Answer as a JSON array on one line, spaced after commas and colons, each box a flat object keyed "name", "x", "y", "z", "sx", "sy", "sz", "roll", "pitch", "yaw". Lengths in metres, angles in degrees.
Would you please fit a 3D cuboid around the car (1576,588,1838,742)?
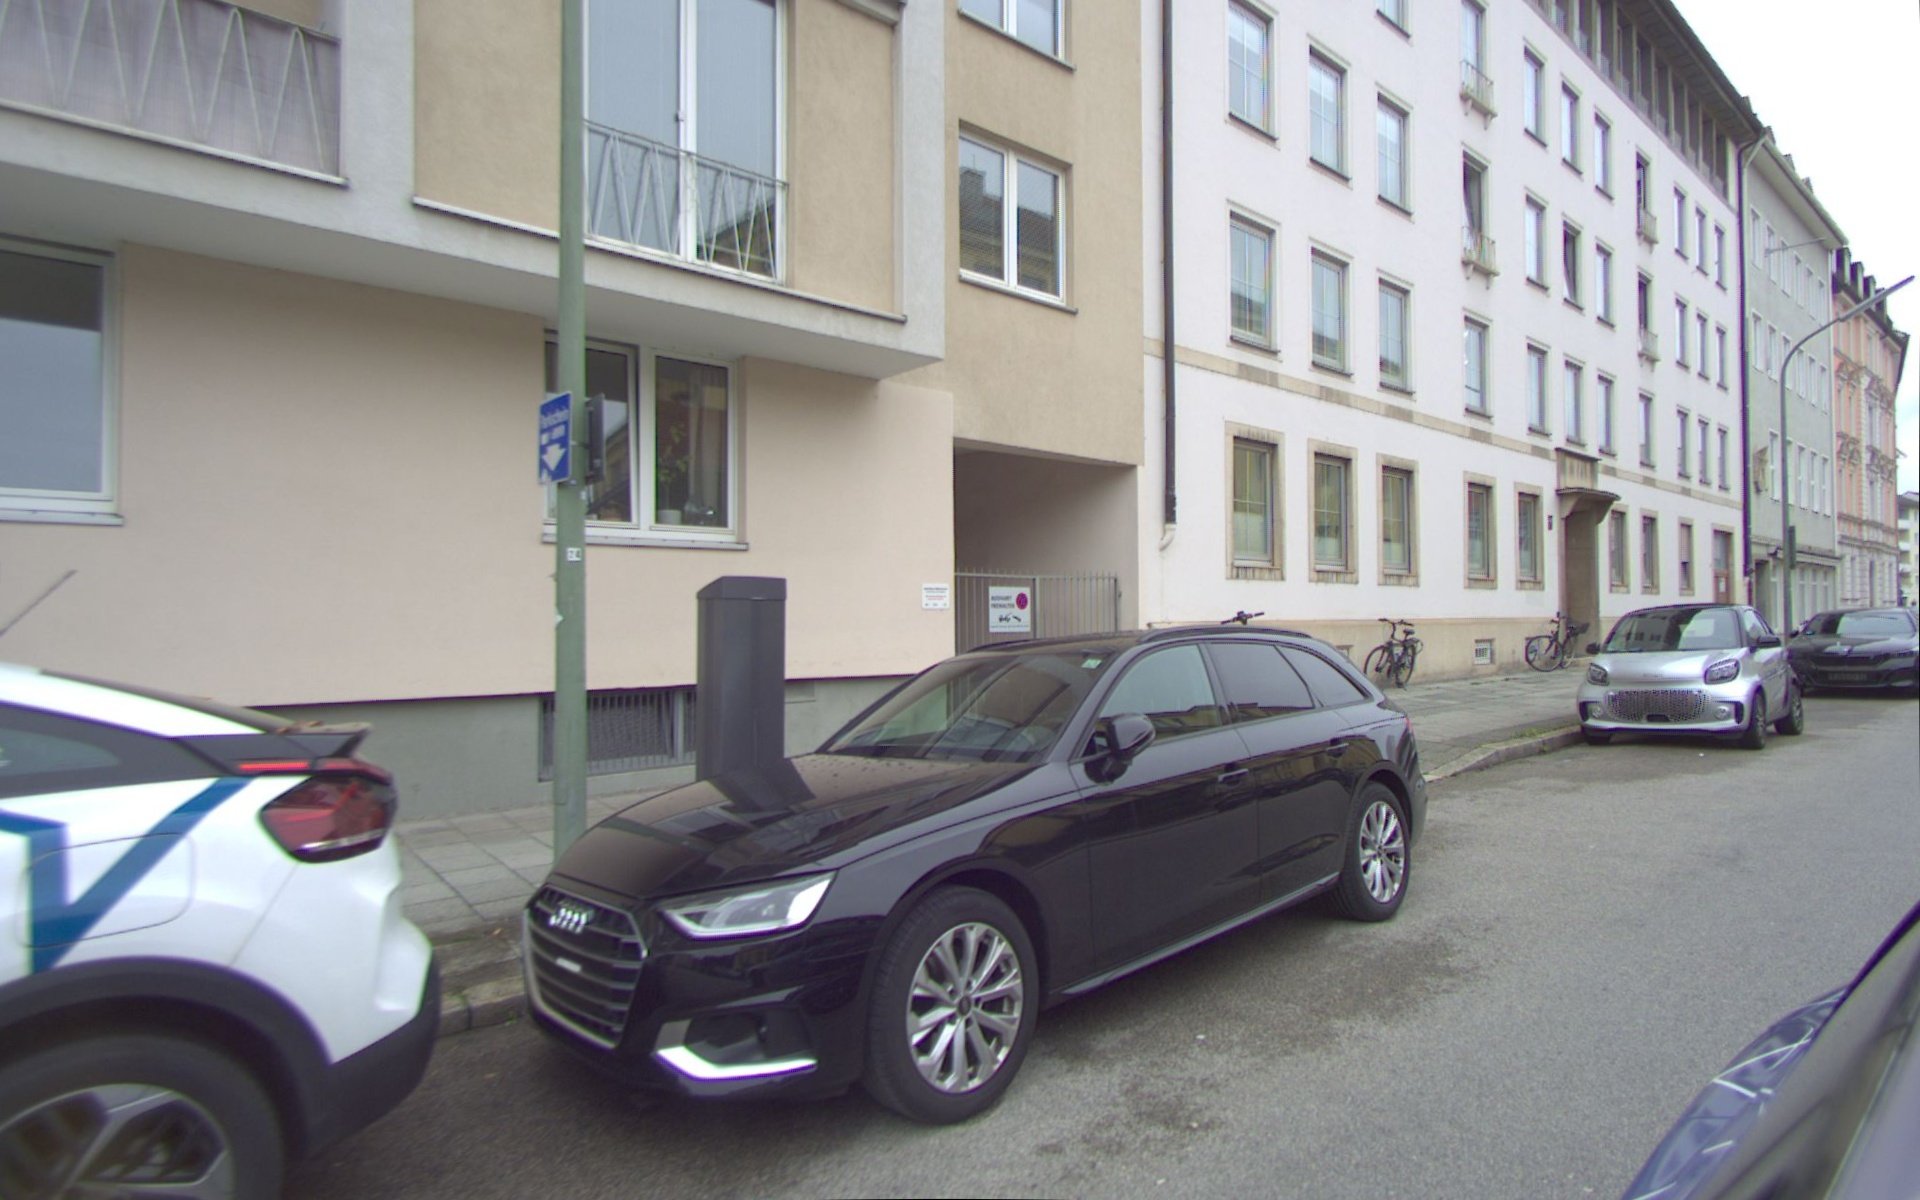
[{"name": "car", "x": 8.757, "y": 0.716, "z": 11.793, "sx": 3.319, "sy": 1.537, "sz": 1.617, "roll": 1, "pitch": -5, "yaw": -40}]

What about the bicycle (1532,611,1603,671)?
[{"name": "bicycle", "x": 11.917, "y": 0.772, "z": 19.835, "sx": 2.005, "sy": 1.093, "sz": 0.598, "roll": 0, "pitch": 2, "yaw": -42}]

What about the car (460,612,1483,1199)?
[{"name": "car", "x": 0.401, "y": 0.791, "z": 4.490, "sx": 4.411, "sy": 1.399, "sz": 1.830, "roll": 1, "pitch": -3, "yaw": -40}]

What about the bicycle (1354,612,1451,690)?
[{"name": "bicycle", "x": 6.787, "y": 0.746, "z": 15.479, "sx": 1.805, "sy": 1.105, "sz": 0.631, "roll": 0, "pitch": 1, "yaw": -41}]

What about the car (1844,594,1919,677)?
[{"name": "car", "x": 20.078, "y": 0.708, "z": 21.040, "sx": 4.410, "sy": 1.602, "sz": 1.830, "roll": 1, "pitch": -2, "yaw": -40}]

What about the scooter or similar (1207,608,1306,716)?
[{"name": "scooter or similar", "x": 3.738, "y": 0.745, "z": 12.759, "sx": 1.076, "sy": 1.291, "sz": 0.730, "roll": 1, "pitch": -1, "yaw": -41}]

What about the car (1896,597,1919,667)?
[{"name": "car", "x": 24.048, "y": 0.726, "z": 24.188, "sx": 4.410, "sy": 1.602, "sz": 1.830, "roll": 0, "pitch": -2, "yaw": -39}]

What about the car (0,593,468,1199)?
[{"name": "car", "x": -3.238, "y": 0.799, "z": 1.669, "sx": 4.050, "sy": 1.488, "sz": 1.703, "roll": 0, "pitch": -5, "yaw": -43}]

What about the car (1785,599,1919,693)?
[{"name": "car", "x": 16.226, "y": 0.749, "z": 17.852, "sx": 4.619, "sy": 1.466, "sz": 1.875, "roll": 1, "pitch": -2, "yaw": -42}]
